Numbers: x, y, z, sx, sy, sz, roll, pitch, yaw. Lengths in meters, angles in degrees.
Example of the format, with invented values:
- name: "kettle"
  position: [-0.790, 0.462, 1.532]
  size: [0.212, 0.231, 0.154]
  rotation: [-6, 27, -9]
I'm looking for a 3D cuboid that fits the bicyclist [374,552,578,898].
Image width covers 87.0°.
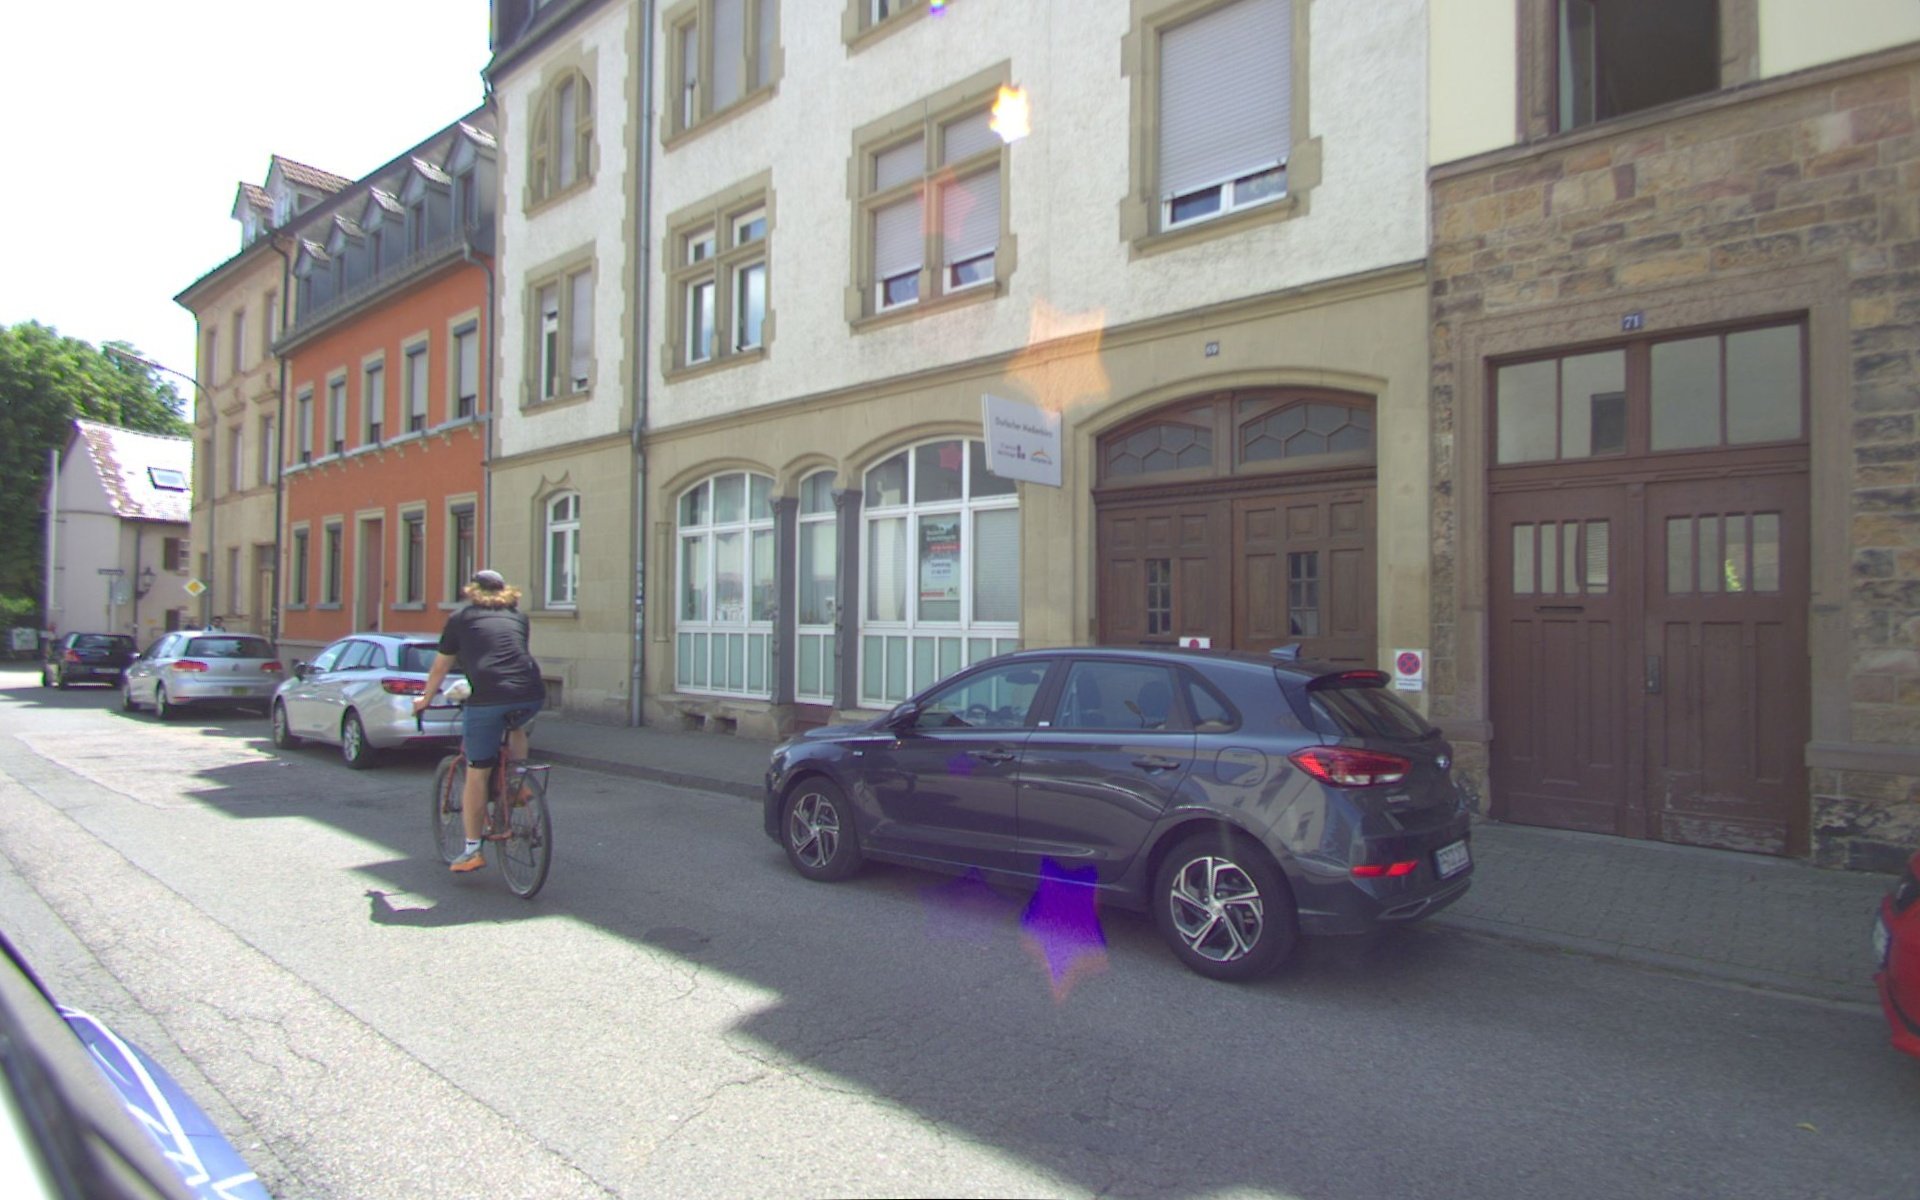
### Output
- name: "bicyclist"
  position: [-2.815, 0.665, 5.855]
  size: [1.168, 1.776, 0.634]
  rotation: [-2, -5, 45]

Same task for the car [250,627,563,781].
- name: "car"
  position: [-6.771, 1.106, 12.182]
  size: [4.378, 1.522, 1.858]
  rotation: [-2, -3, 41]

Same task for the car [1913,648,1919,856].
- name: "car"
  position: [4.680, 0.856, 2.306]
  size: [3.491, 1.453, 1.582]
  rotation: [-1, -3, 39]

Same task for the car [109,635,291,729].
- name: "car"
  position: [-13.503, 1.386, 17.921]
  size: [3.850, 1.470, 1.693]
  rotation: [-2, -4, 40]

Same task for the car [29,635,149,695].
- name: "car"
  position: [-22.616, 1.634, 26.228]
  size: [3.853, 1.453, 1.710]
  rotation: [-2, -3, 40]

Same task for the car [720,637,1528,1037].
- name: "car"
  position: [0.696, 0.952, 5.800]
  size: [4.214, 1.449, 1.854]
  rotation: [-2, -3, 39]

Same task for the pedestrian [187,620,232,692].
- name: "pedestrian"
  position: [-18.958, 1.400, 25.571]
  size: [0.763, 1.784, 0.760]
  rotation: [-2, -1, 39]

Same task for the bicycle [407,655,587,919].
- name: "bicycle"
  position: [-2.724, 0.983, 5.850]
  size: [0.225, 1.285, 1.884]
  rotation: [6, -5, -45]
